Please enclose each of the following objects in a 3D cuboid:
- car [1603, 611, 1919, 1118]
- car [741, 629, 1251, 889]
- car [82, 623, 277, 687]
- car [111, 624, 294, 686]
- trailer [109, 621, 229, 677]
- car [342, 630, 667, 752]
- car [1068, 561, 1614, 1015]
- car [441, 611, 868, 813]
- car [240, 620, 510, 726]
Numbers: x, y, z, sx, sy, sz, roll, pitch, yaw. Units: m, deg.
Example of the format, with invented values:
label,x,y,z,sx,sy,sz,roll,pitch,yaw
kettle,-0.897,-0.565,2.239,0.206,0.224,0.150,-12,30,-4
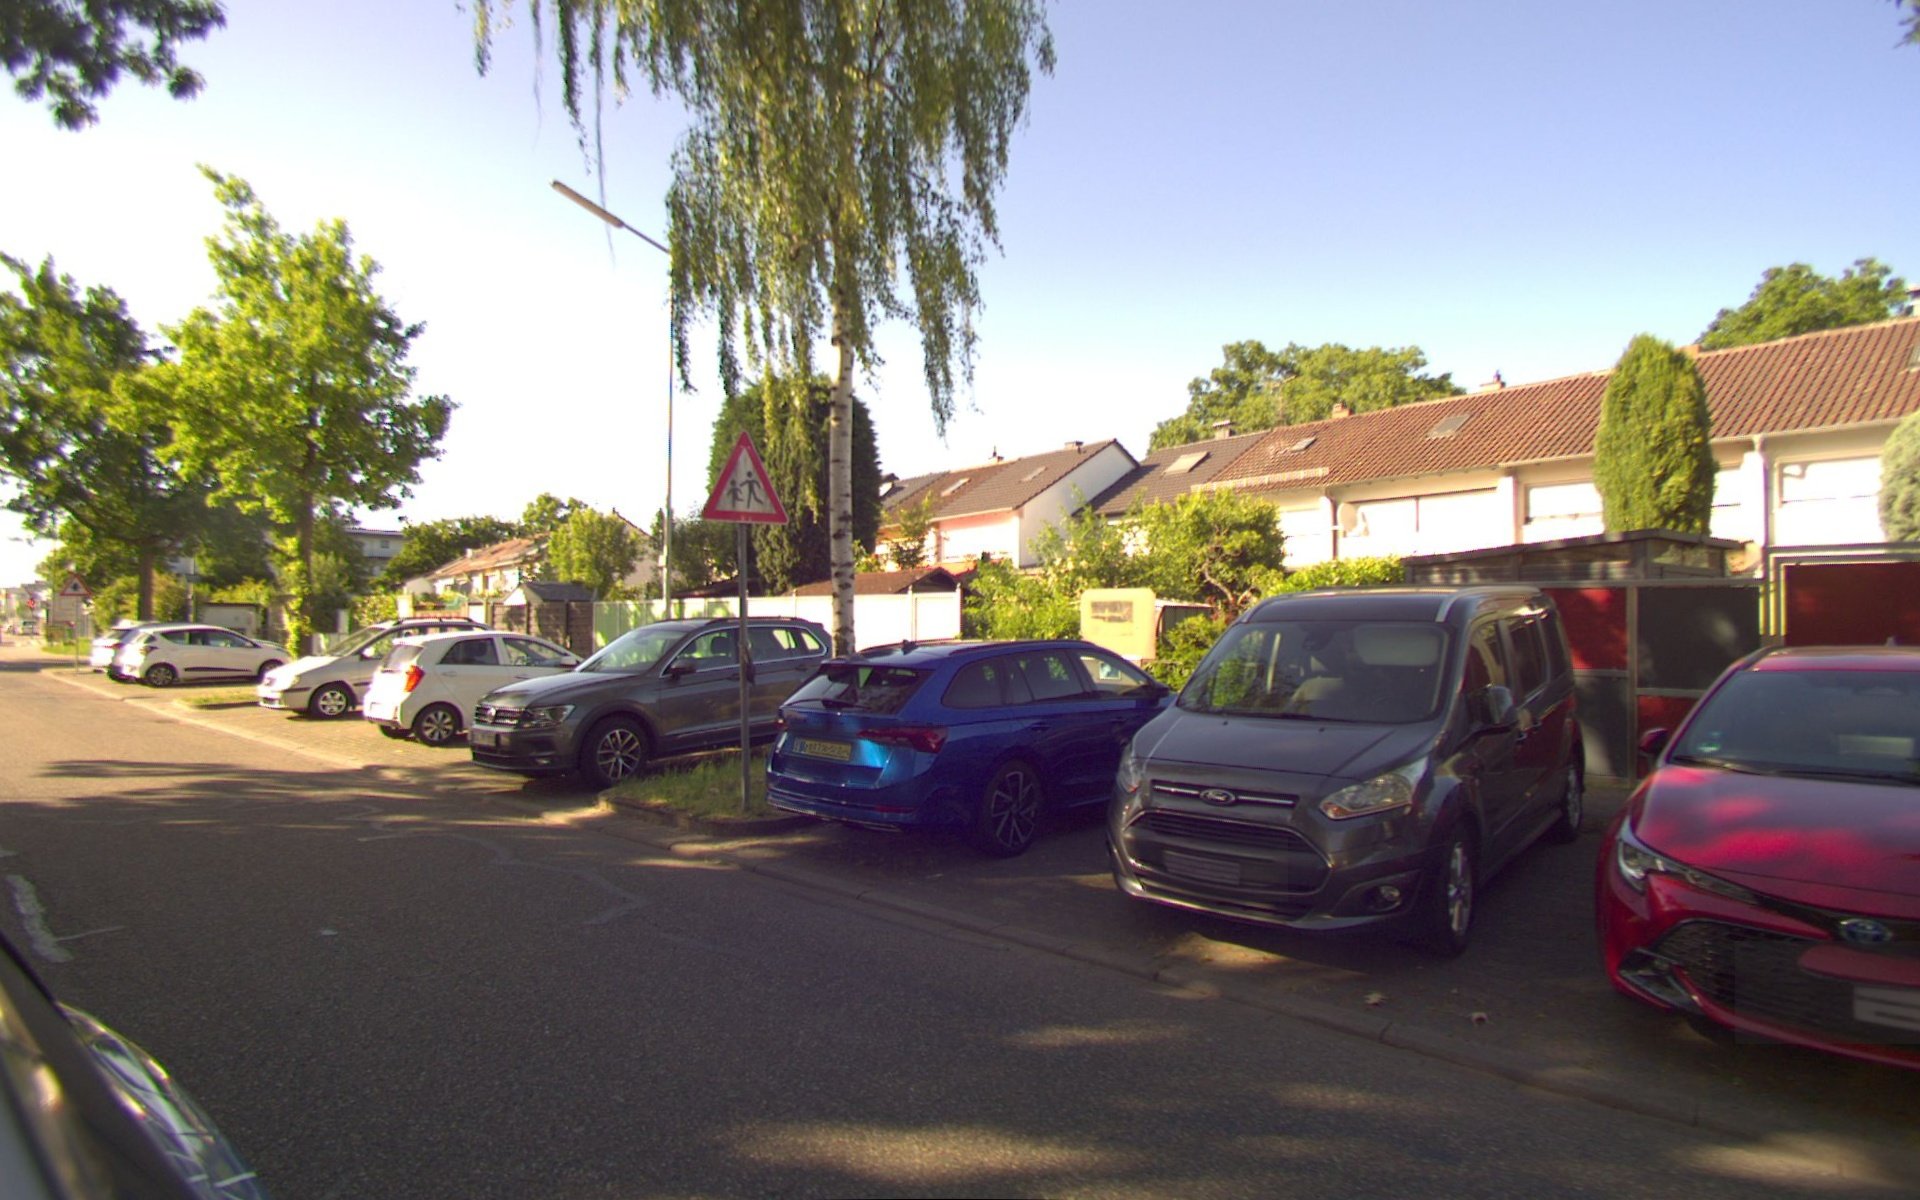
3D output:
label,x,y,z,sx,sy,sz,roll,pitch,yaw
car,4.362,0.847,4.670,1.835,1.511,4.432,-1,-2,39
car,0.528,0.985,8.039,1.723,1.435,4.225,-2,-1,42
car,-21.551,1.455,28.072,1.918,1.586,3.919,0,0,35
car,-19.591,1.386,26.259,1.706,1.507,3.479,-1,-2,39
trailer,-24.928,1.502,31.960,1.297,1.660,2.733,1,0,37
car,-6.541,1.215,14.839,1.795,1.526,3.958,-2,-2,42
car,2.715,0.751,6.353,1.793,1.782,4.626,-2,-1,39
car,-3.110,1.007,11.001,1.759,1.737,4.167,-1,-1,40
car,-10.420,1.220,18.222,1.706,1.626,3.896,-2,-1,43
